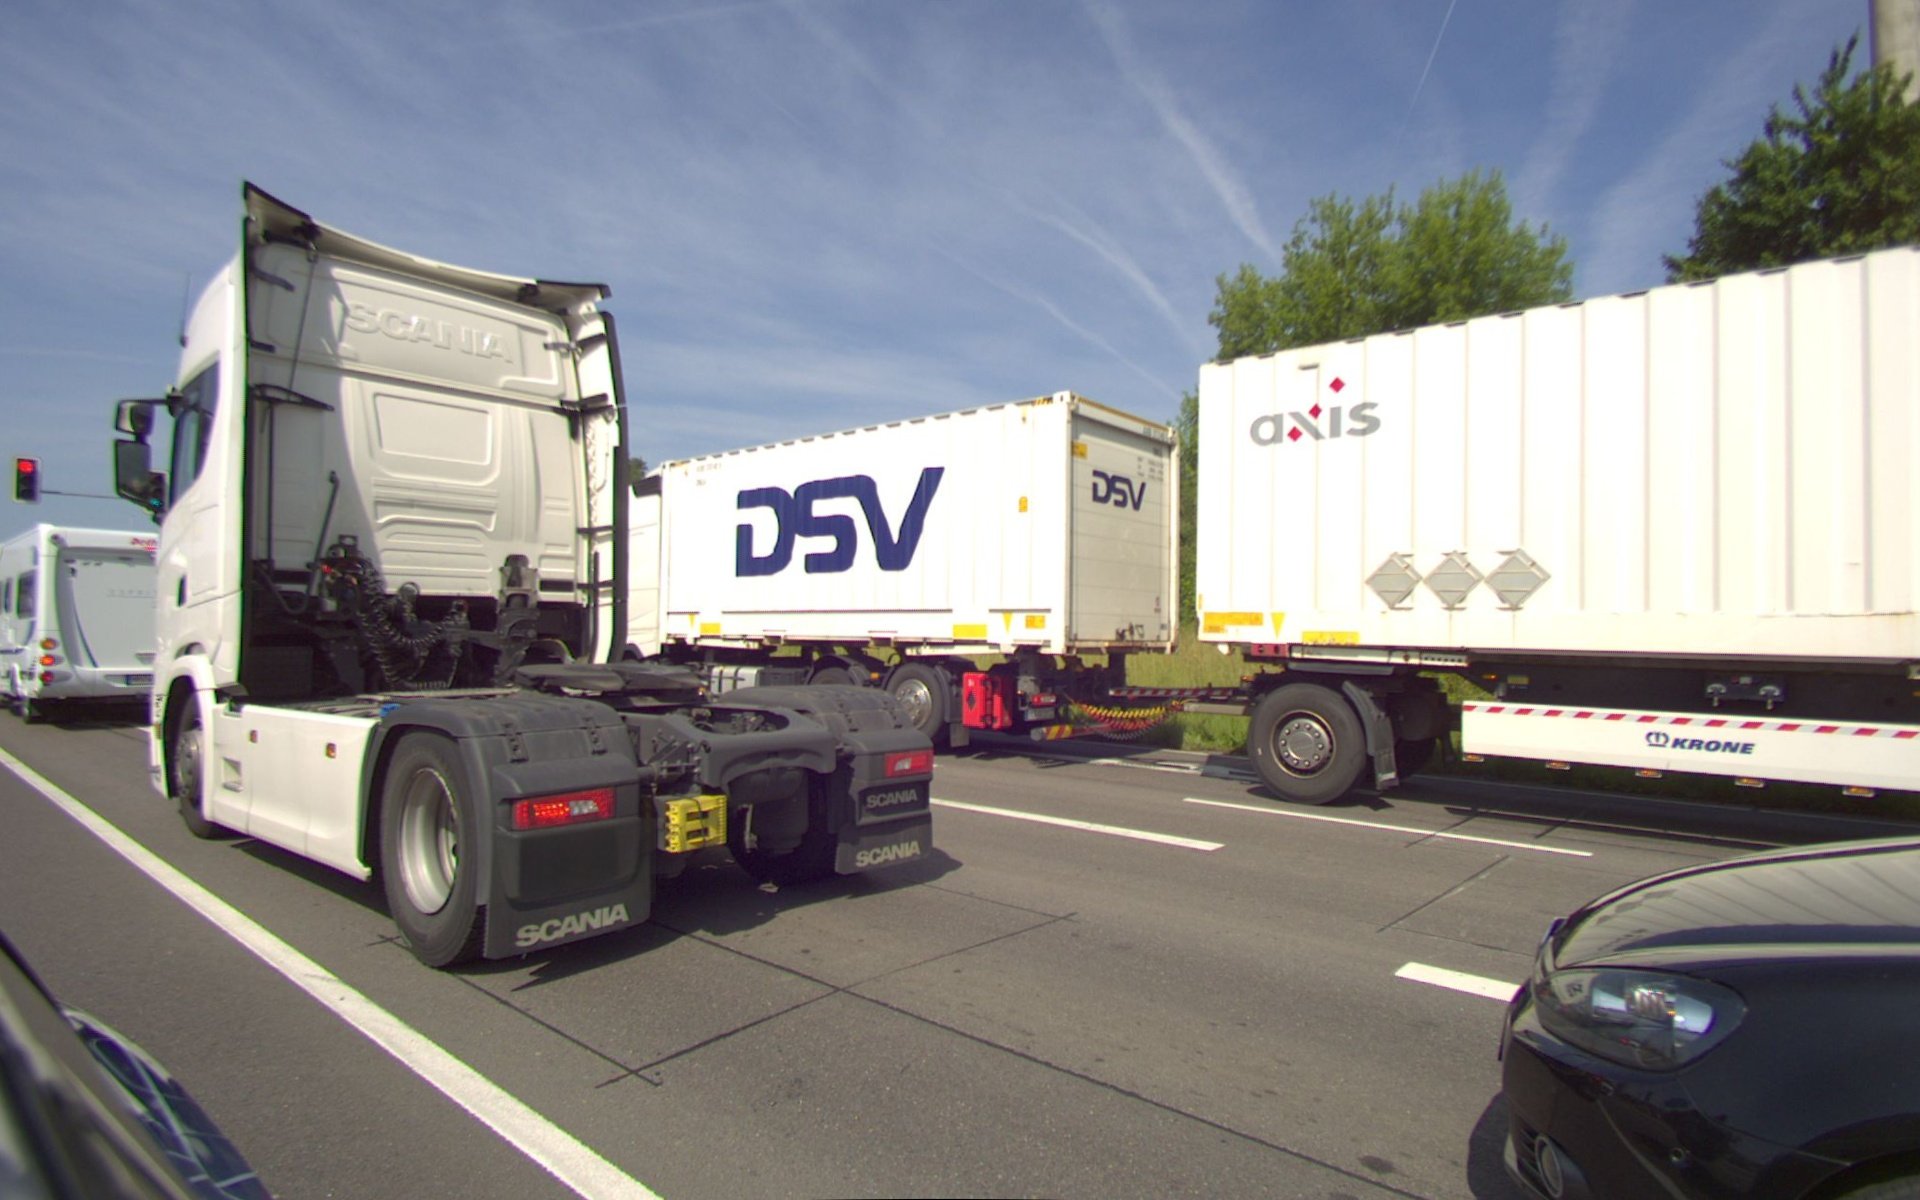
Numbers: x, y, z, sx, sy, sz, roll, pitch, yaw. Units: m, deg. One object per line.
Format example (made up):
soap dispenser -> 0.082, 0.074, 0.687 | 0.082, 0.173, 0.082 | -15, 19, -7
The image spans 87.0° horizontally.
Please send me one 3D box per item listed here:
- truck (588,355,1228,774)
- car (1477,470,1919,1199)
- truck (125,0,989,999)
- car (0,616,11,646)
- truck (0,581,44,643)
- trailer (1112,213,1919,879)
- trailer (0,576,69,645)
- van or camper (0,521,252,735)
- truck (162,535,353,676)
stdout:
truck -> -1.356, -0.275, 14.220 | 9.675, 4.147, 2.801 | -1, -2, 40
car -> 3.035, 0.606, 1.134 | 4.107, 1.563, 1.693 | -1, -2, 41
truck -> -3.053, -0.584, 6.622 | 6.260, 4.119, 2.511 | -1, -2, 40
car -> -51.688, 1.610, 53.615 | 3.999, 1.513, 1.706 | -1, -4, 42
truck -> -66.635, 0.852, 70.568 | 6.342, 4.111, 3.155 | -1, -2, 41
trailer -> 5.735, -0.287, 8.198 | 8.750, 4.101, 2.811 | -1, -2, 40
trailer -> -61.598, 0.744, 66.152 | 14.118, 4.111, 3.061 | -1, -2, 41
van or camper -> -13.340, 0.406, 15.560 | 6.974, 2.620, 2.306 | -1, -2, 41
truck -> -23.067, 0.238, 32.951 | 9.614, 4.029, 2.701 | -1, -2, 41
